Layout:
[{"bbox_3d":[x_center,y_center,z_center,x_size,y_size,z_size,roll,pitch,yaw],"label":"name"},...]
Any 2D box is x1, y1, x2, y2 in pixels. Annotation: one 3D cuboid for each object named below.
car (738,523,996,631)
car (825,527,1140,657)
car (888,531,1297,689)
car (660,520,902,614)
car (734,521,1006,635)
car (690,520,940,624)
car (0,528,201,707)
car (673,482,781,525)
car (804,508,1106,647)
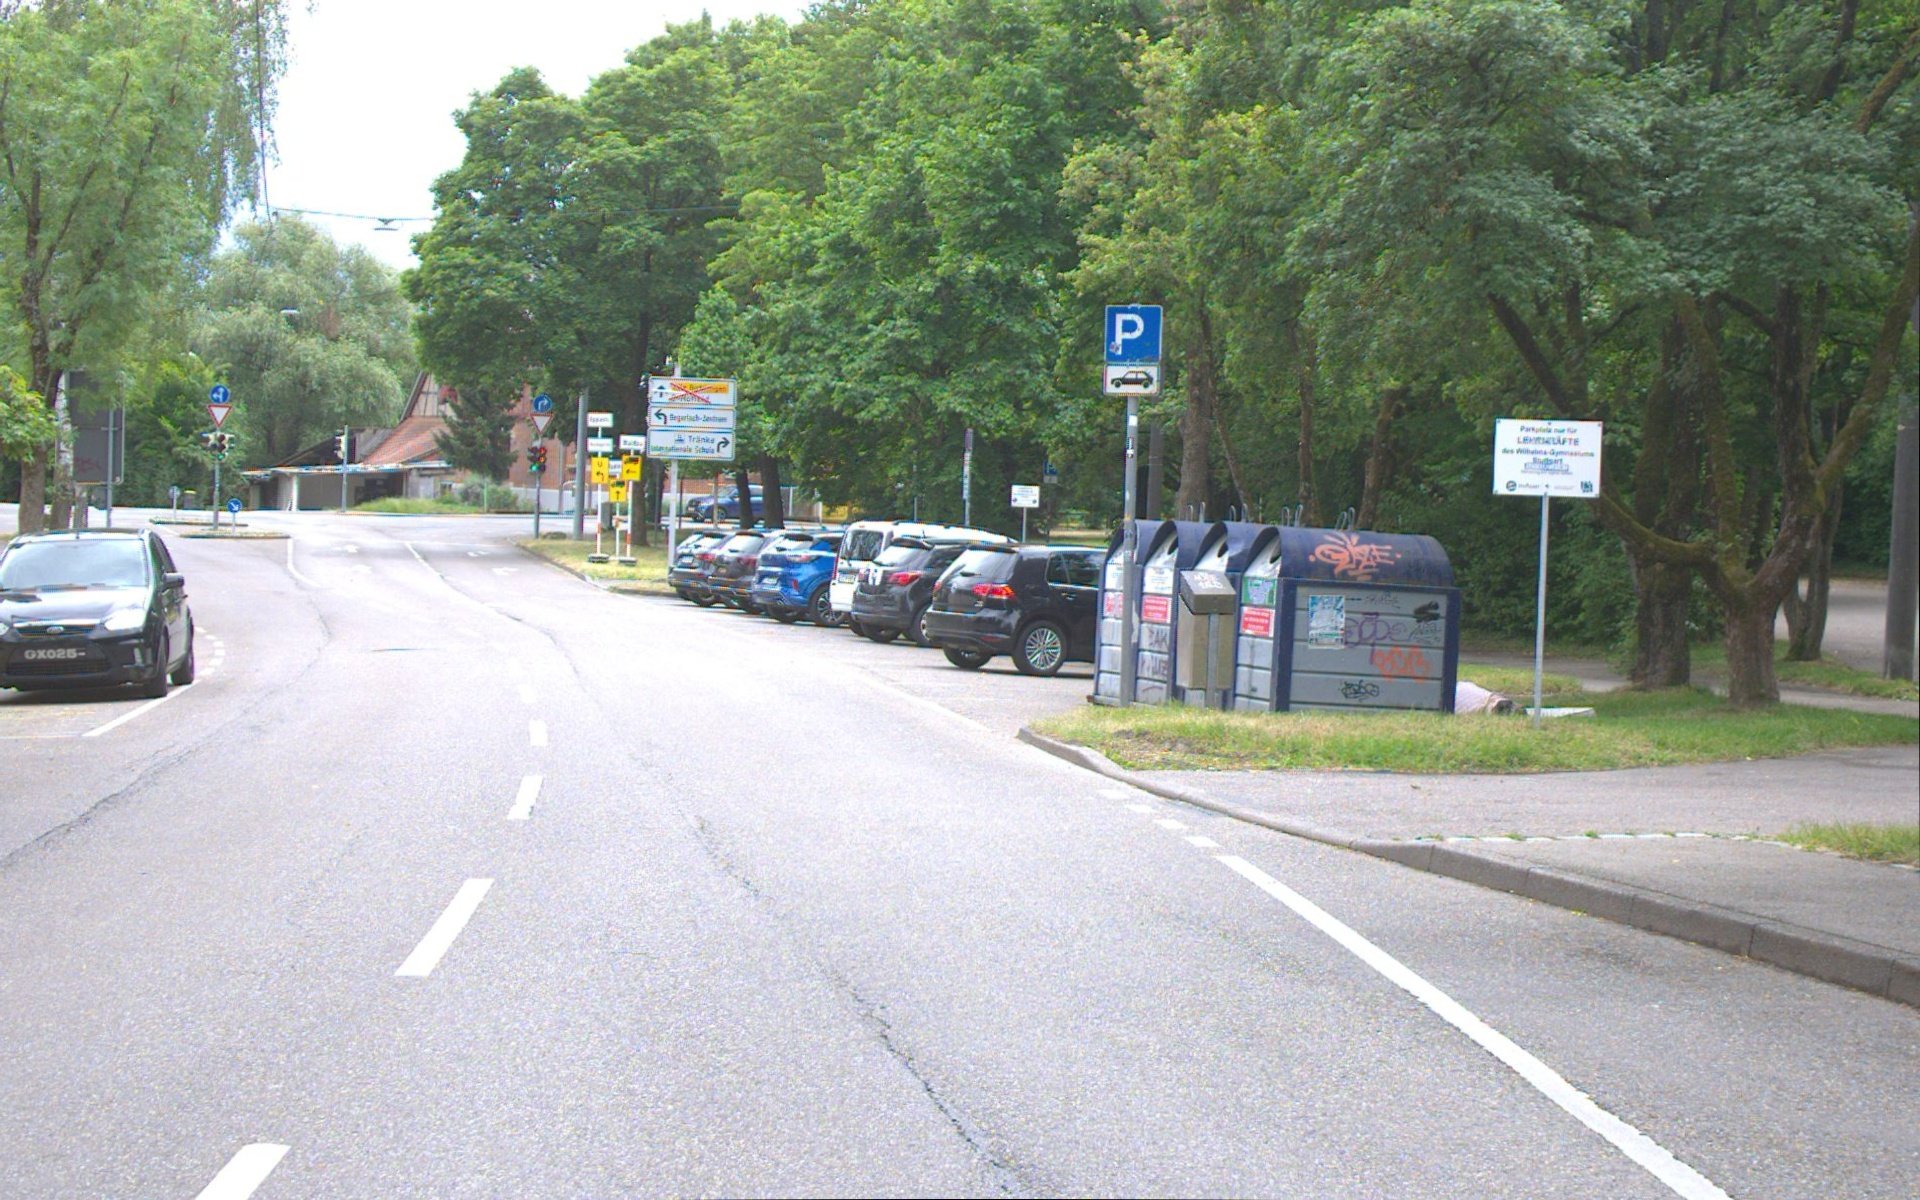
[{"bbox_3d":[-1.535,-0.380,57.018,3.818,1.523,1.747,4,0,-29],"label":"car"},{"bbox_3d":[0.308,-0.106,46.759,3.818,1.463,1.747,4,1,-29],"label":"car"},{"bbox_3d":[1.486,0.115,38.440,3.986,1.409,2.058,4,2,-29],"label":"car"},{"bbox_3d":[-3.232,-0.597,62.022,3.872,1.421,1.830,4,0,-29],"label":"car"},{"bbox_3d":[-1.413,-0.350,54.062,3.818,1.523,1.747,4,0,-29],"label":"car"},{"bbox_3d":[-2.474,-0.476,58.885,3.818,1.523,1.747,4,0,-29],"label":"car"},{"bbox_3d":[-8.358,0.121,32.811,1.804,1.557,4.268,-2,1,-8],"label":"car"},{"bbox_3d":[-9.423,-3.916,139.050,3.845,1.641,2.000,0,2,-31],"label":"car"},{"bbox_3d":[-0.068,-0.324,49.451,3.818,1.714,1.878,4,0,-29],"label":"car"}]
